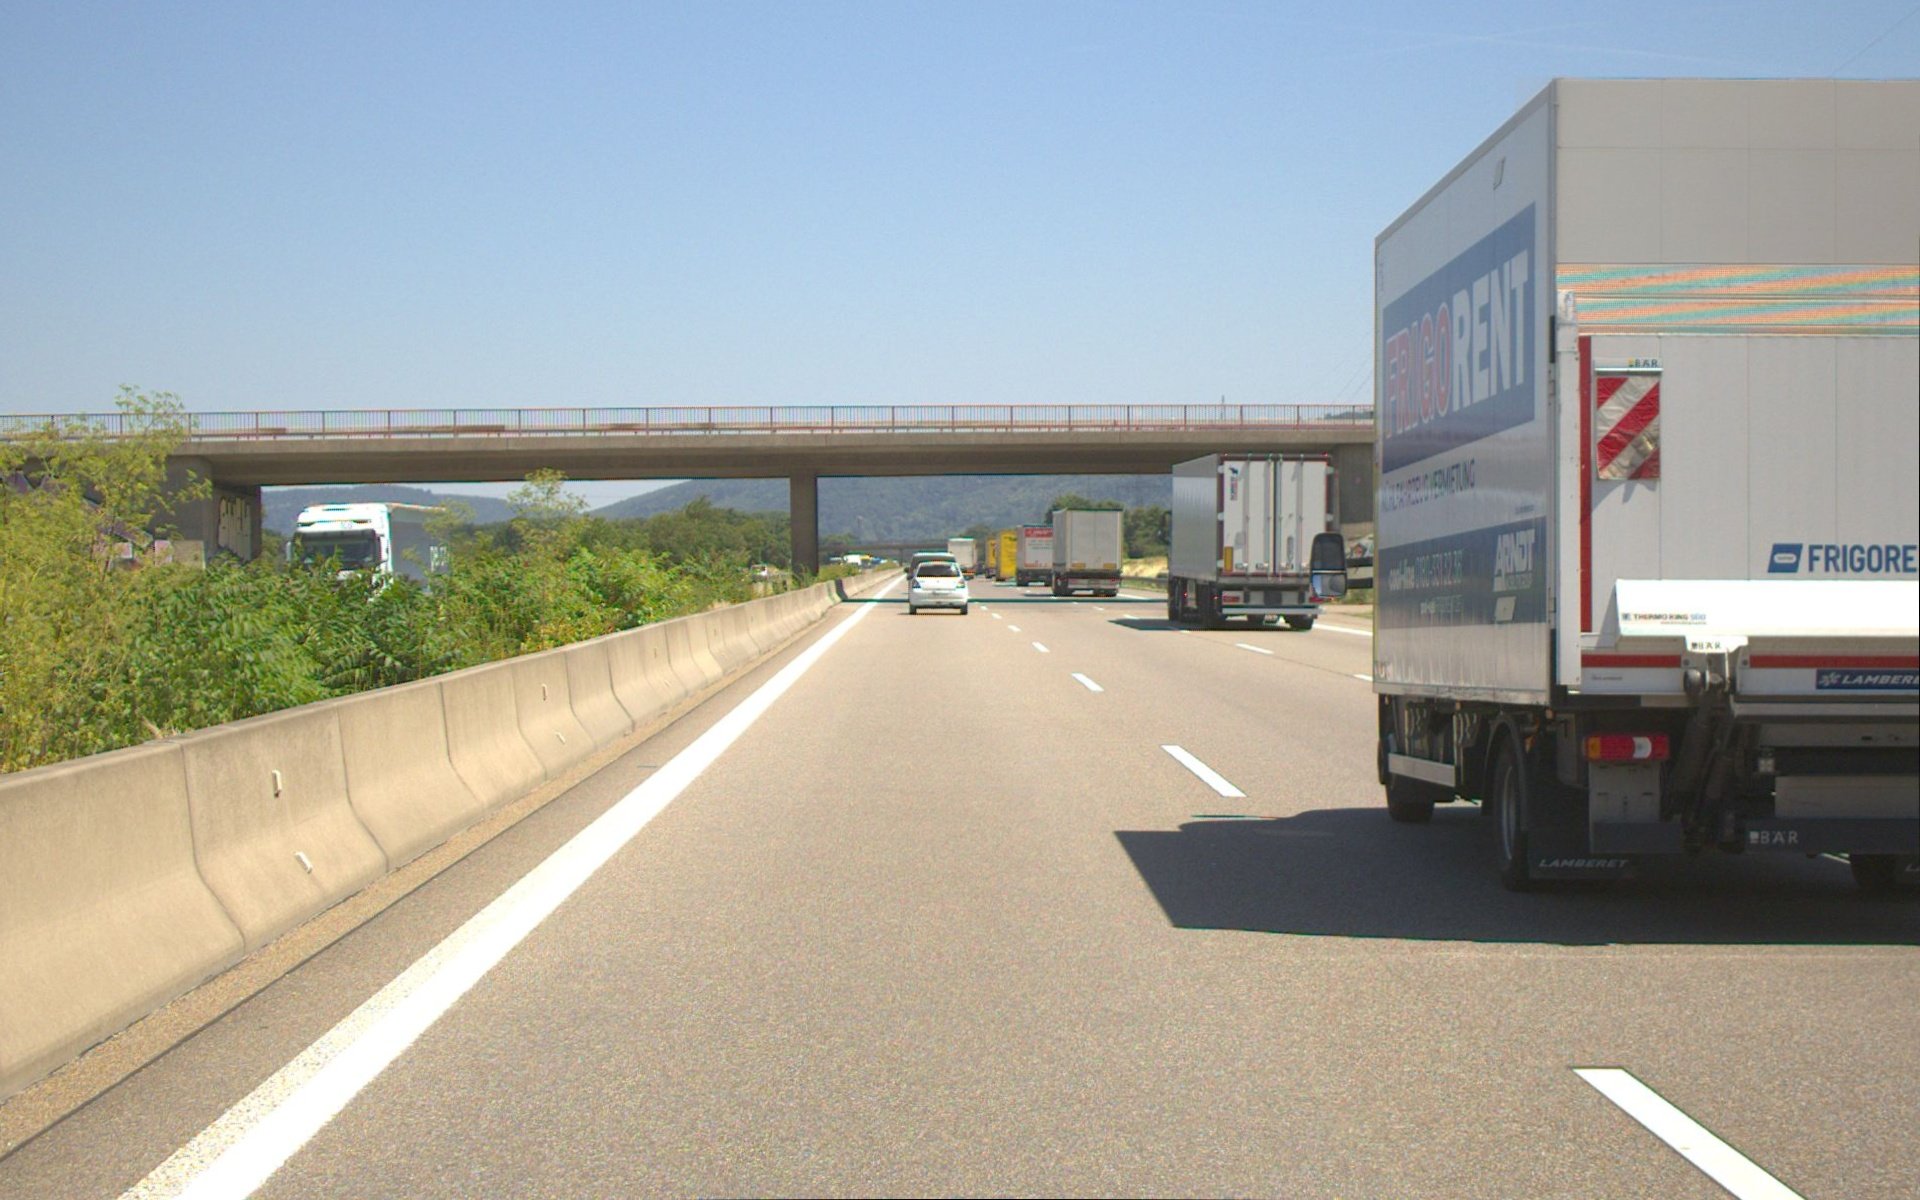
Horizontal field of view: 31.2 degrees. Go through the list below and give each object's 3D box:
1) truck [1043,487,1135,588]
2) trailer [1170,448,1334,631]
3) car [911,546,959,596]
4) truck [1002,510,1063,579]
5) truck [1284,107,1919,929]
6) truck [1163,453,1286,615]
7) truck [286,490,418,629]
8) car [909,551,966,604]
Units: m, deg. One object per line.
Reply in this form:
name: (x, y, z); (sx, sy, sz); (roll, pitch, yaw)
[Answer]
truck: (5.934, -2.895, 161.122); (3.520, 4.401, 14.592); (-1, 1, -1)
trailer: (7.017, -1.468, 84.654); (2.795, 4.149, 13.956); (0, 1, 0)
car: (-0.952, -1.133, 130.893); (1.761, 1.844, 4.000); (-1, 1, 0)
truck: (4.759, -3.672, 229.580); (3.520, 4.401, 14.592); (-1, 1, -1)
truck: (3.561, -0.379, 18.190); (2.782, 3.361, 8.128); (0, 1, -1)
truck: (6.992, -1.741, 91.477); (2.795, 4.149, 5.723); (0, 1, 0)
truck: (-18.116, -1.212, 102.752); (2.834, 3.925, 5.825); (-2, 1, -1)
car: (-0.641, -0.678, 99.849); (1.607, 1.462, 4.000); (-1, 1, 0)
